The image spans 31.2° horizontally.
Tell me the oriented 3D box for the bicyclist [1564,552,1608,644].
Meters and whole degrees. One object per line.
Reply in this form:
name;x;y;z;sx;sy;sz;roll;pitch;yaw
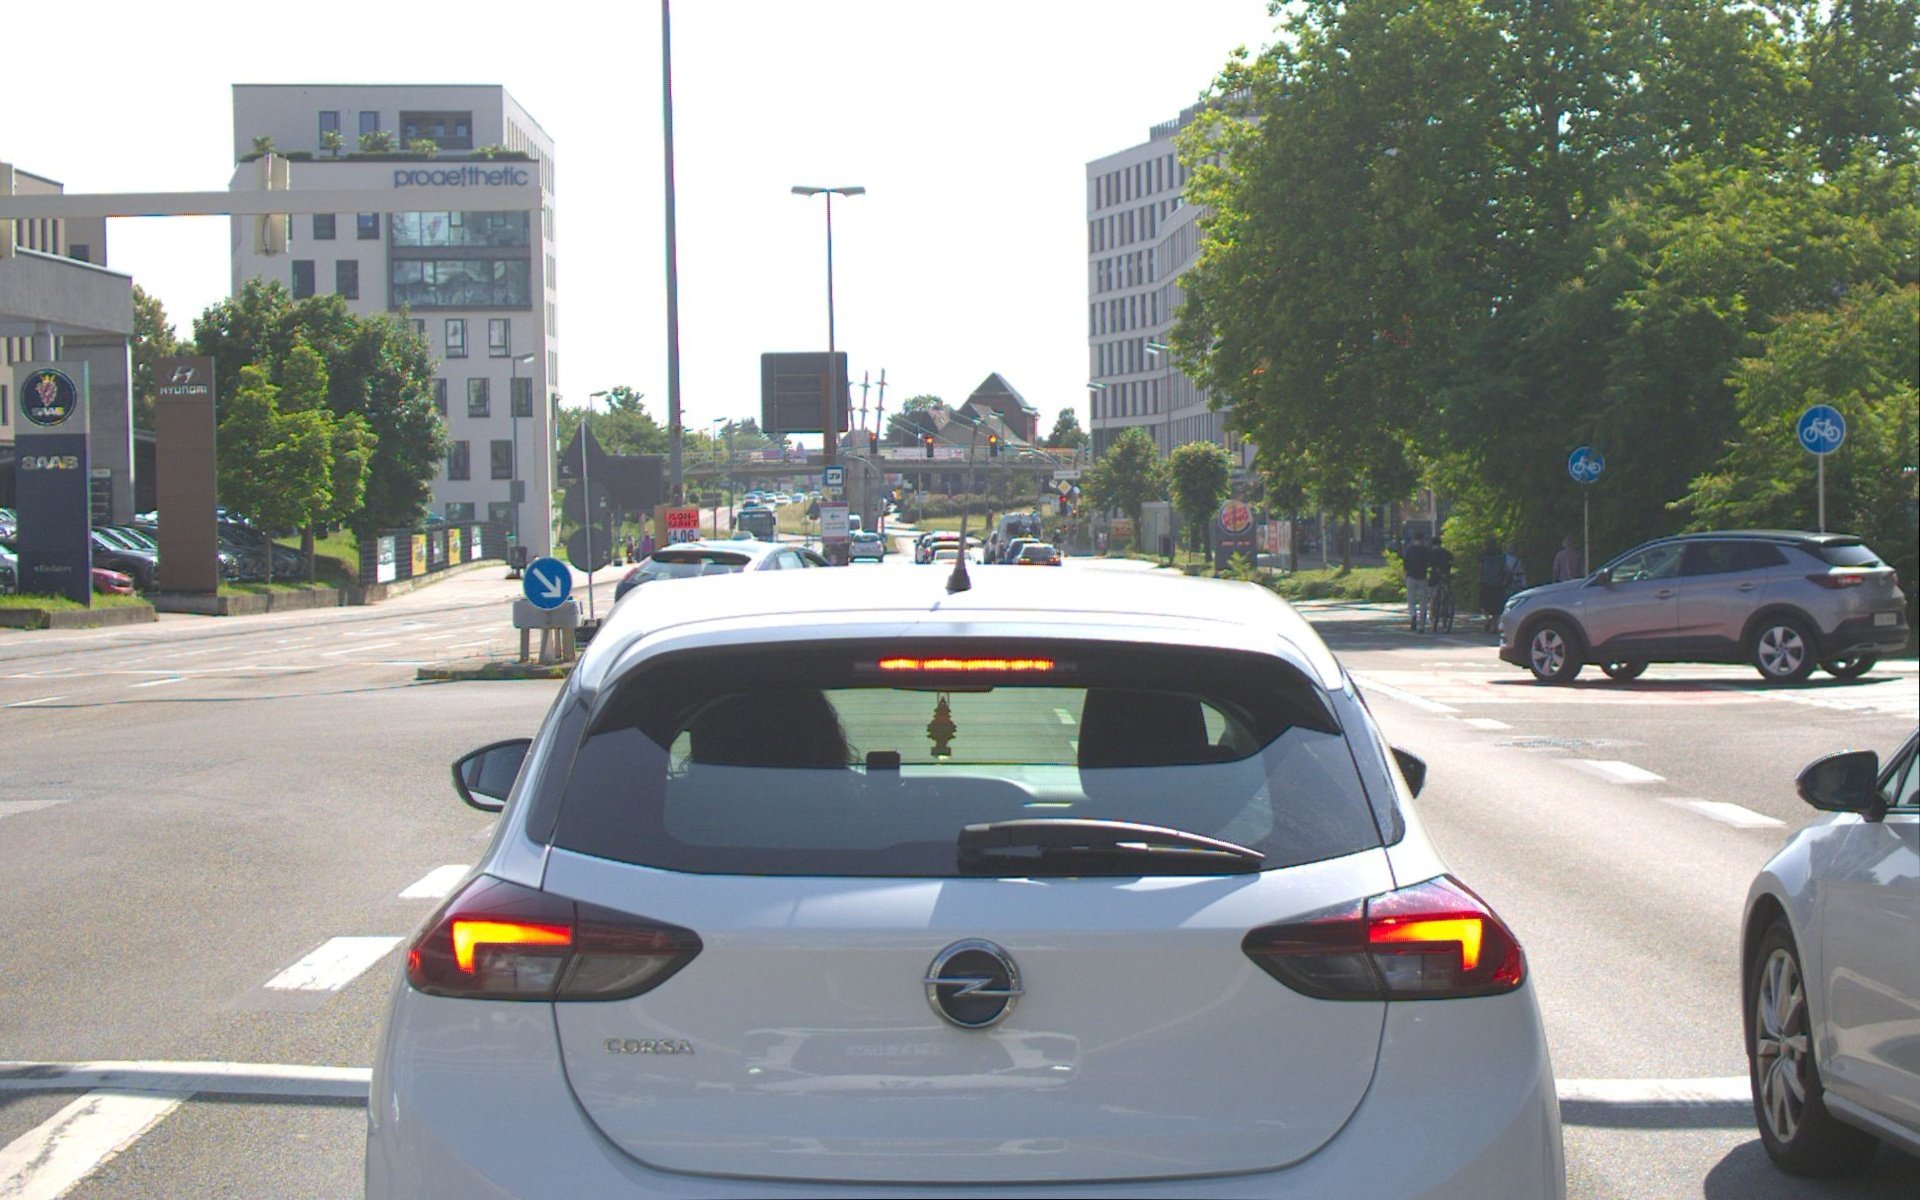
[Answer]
bicyclist;11.218;-0.046;61.655;0.652;1.631;0.659;1;0;1

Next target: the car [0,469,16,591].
car;-22.556;-1.469;73.050;4.357;2.592;2.000;-1;1;5

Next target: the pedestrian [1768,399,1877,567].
pedestrian;10.457;-1.412;41.711;1.027;2.007;1.039;-1;1;-1

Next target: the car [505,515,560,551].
car;-17.638;-2.761;142.125;1.806;1.381;4.000;1;0;-1

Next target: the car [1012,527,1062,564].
car;3.003;-2.139;135.255;1.806;1.381;4.000;1;0;-1

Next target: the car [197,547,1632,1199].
car;-0.078;0.663;6.291;1.779;1.489;4.000;-1;1;-1

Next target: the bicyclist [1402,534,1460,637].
bicyclist;8.224;-0.261;60.027;0.879;1.766;0.864;-1;1;0

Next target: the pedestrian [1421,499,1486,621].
pedestrian;9.102;-0.744;63.466;1.027;2.231;1.039;-1;1;-1

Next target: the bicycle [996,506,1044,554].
bicycle;2.700;-3.164;155.485;1.993;2.150;4.000;-1;1;-1

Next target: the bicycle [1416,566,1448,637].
bicycle;8.246;0.015;60.029;0.372;1.212;1.154;1;1;-1

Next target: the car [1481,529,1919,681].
car;8.092;0.034;37.145;4.428;1.546;1.996;0;1;36

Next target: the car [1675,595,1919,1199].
car;2.834;0.714;6.864;1.807;1.424;4.000;-1;1;-3

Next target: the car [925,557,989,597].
car;-0.124;-0.783;118.527;1.993;1.327;4.000;1;0;-3

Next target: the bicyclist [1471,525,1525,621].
bicyclist;9.247;-0.468;59.103;0.688;1.637;0.777;-1;1;-9

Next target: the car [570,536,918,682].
car;-2.208;0.059;36.463;1.996;1.442;4.366;1;1;22

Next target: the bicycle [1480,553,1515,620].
bicycle;9.236;-0.232;59.065;0.373;1.143;1.034;1;0;-3
